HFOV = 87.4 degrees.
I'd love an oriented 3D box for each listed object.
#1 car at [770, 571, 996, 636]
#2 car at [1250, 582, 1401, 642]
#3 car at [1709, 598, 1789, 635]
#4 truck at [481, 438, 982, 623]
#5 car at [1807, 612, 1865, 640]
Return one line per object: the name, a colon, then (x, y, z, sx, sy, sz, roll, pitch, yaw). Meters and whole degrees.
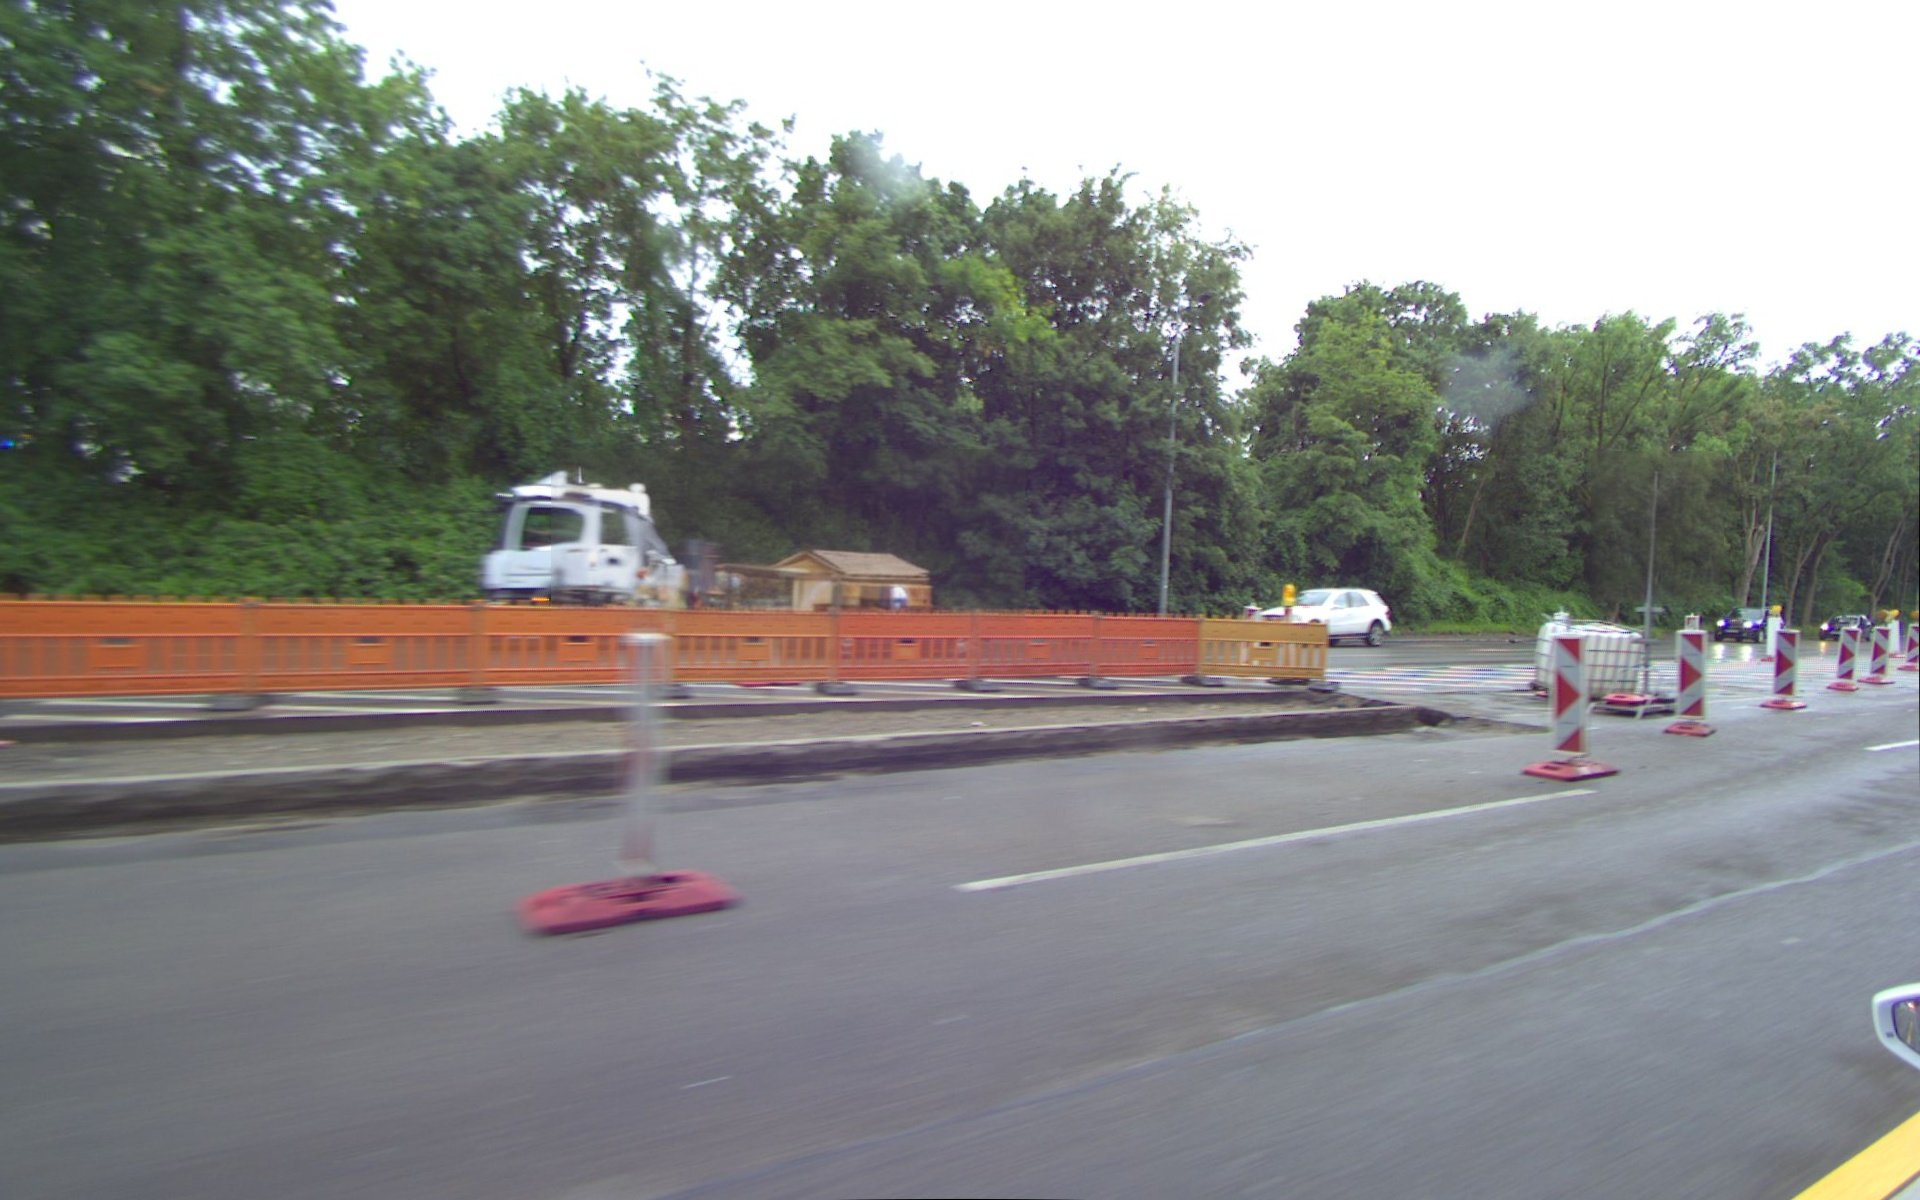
car: (-1.497, 0.087, 20.110, 4.231, 1.168, 1.598, 1, 1, -30)
car: (11.363, 0.415, 31.149, 4.663, 1.746, 1.836, 1, -2, -30)
car: (37.281, 0.770, 47.459, 4.152, 1.669, 1.627, 1, 1, -32)
truck: (-4.558, -1.212, 21.420, 10.026, 3.190, 2.782, 1, 1, -30)
car: (48.941, 1.452, 56.096, 3.501, 1.476, 1.517, 1, 0, -32)
